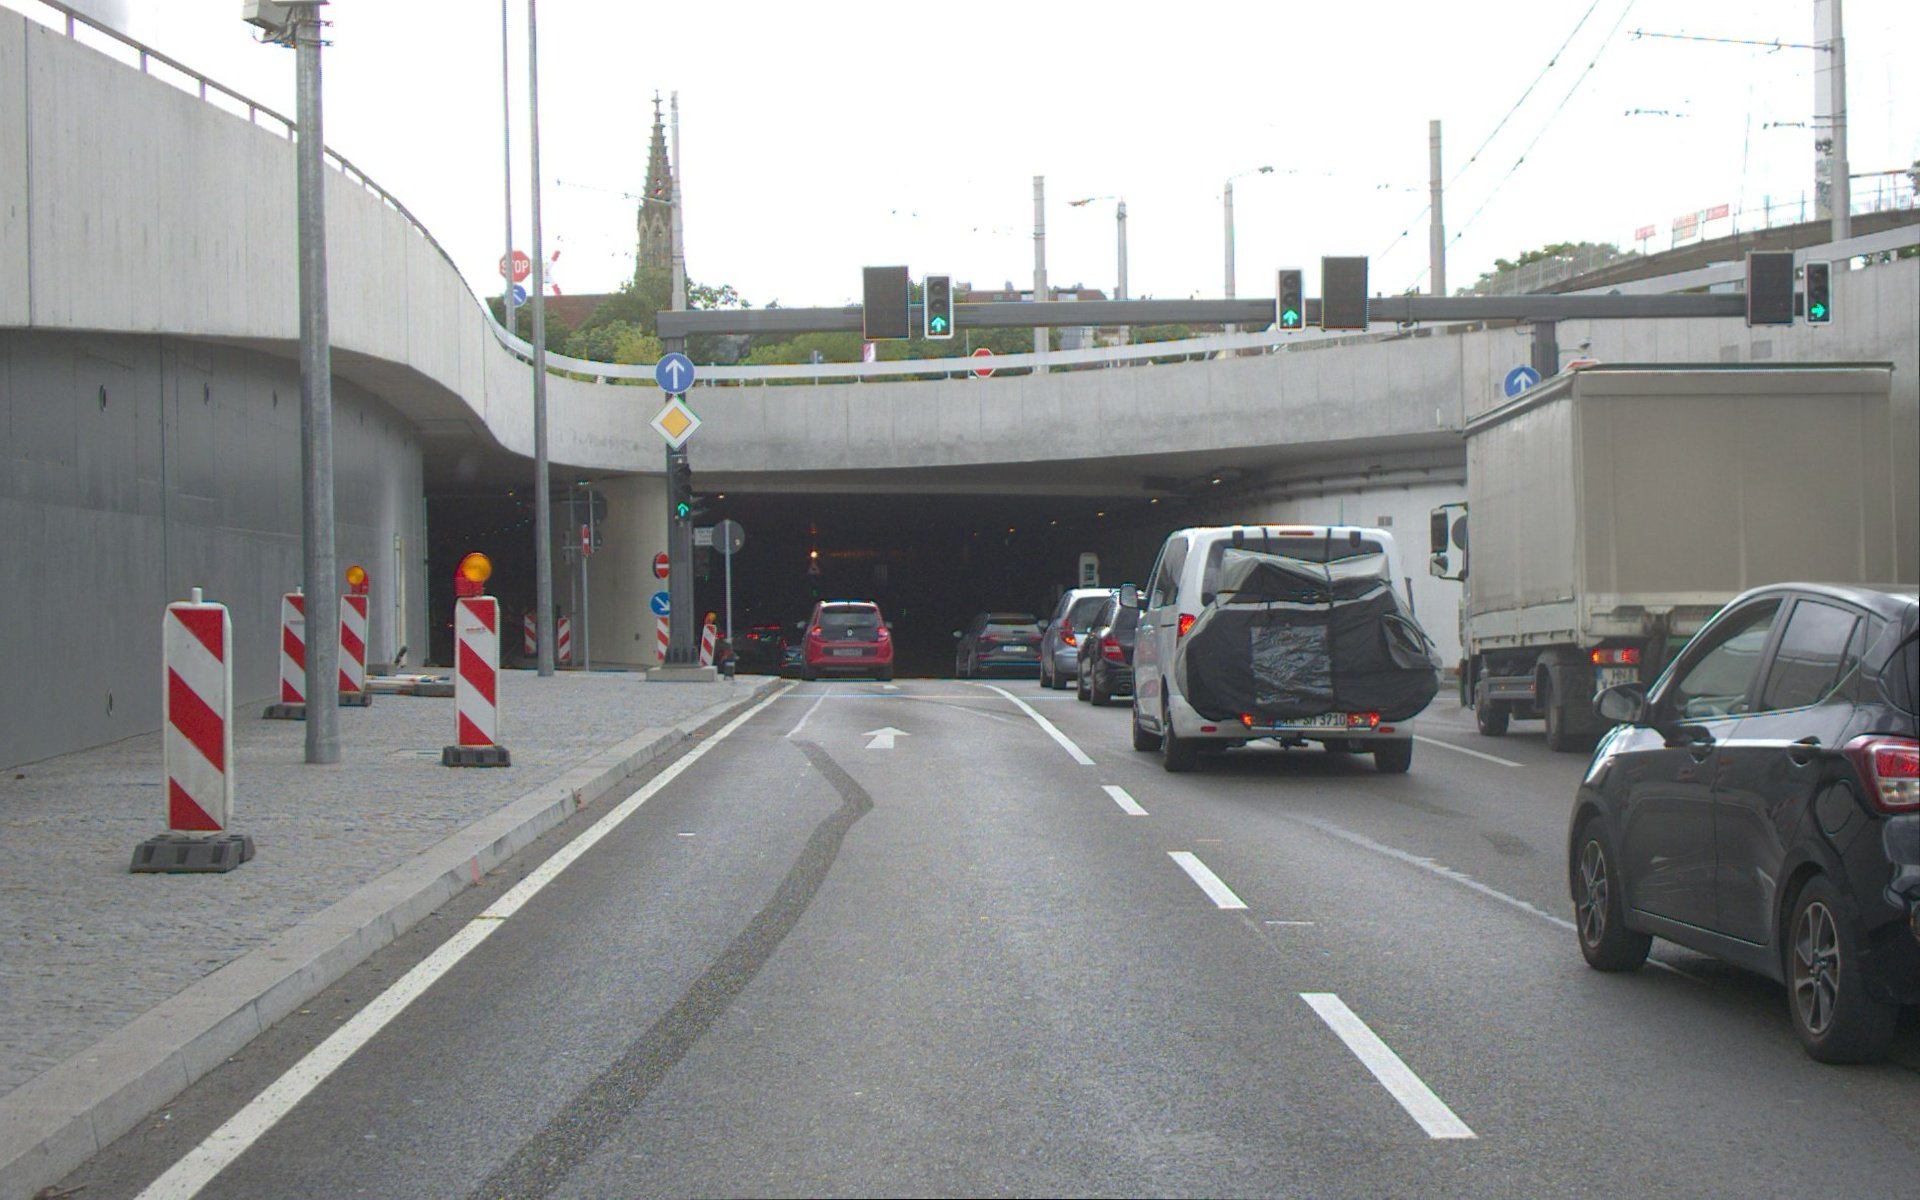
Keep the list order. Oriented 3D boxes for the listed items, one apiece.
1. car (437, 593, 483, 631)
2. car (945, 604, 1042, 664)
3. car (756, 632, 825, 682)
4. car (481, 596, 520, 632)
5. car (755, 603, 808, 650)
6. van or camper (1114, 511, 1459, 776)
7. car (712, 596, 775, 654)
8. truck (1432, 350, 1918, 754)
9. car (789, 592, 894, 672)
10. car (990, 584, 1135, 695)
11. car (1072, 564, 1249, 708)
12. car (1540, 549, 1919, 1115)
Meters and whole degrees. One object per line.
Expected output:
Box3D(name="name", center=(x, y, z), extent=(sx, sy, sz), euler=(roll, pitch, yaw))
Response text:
Box3D(name="car", center=(-19.376, 0.459, 133.286), extent=(1.664, 1.436, 4.114), euler=(-1, 0, -7))
Box3D(name="car", center=(0.688, 0.731, 73.296), extent=(1.663, 1.243, 3.567), euler=(0, -1, -6))
Box3D(name="car", center=(-4.426, 1.483, 89.456), extent=(1.508, 1.243, 3.567), euler=(0, -1, -7))
Box3D(name="car", center=(-22.139, 0.661, 165.643), extent=(1.807, 1.599, 4.789), euler=(-1, 1, -8))
Box3D(name="car", center=(-7.095, 1.037, 136.349), extent=(1.993, 1.767, 4.001), euler=(0, 1, -5))
Box3D(name="van or camper", center=(2.422, 0.367, 26.934), extent=(1.993, 1.839, 5.508), euler=(1, -1, -2))
Box3D(name="car", center=(-7.839, 0.880, 124.400), extent=(1.993, 2.007, 4.001), euler=(0, 1, -8))
Box3D(name="truck", center=(6.180, -0.384, 30.970), extent=(2.649, 3.174, 7.426), euler=(-1, 0, -1))
Box3D(name="car", center=(-2.297, 0.628, 65.970), extent=(1.660, 1.483, 3.567), euler=(0, -1, -7))
Box3D(name="car", center=(1.555, 0.584, 53.625), extent=(1.818, 1.575, 4.000), euler=(3, 0, -4))
Box3D(name="car", center=(2.432, 0.409, 42.628), extent=(1.818, 1.678, 4.000), euler=(1, 0, -2))
Box3D(name="car", center=(3.190, 0.625, 11.375), extent=(1.681, 1.539, 3.693), euler=(1, 1, -4))
